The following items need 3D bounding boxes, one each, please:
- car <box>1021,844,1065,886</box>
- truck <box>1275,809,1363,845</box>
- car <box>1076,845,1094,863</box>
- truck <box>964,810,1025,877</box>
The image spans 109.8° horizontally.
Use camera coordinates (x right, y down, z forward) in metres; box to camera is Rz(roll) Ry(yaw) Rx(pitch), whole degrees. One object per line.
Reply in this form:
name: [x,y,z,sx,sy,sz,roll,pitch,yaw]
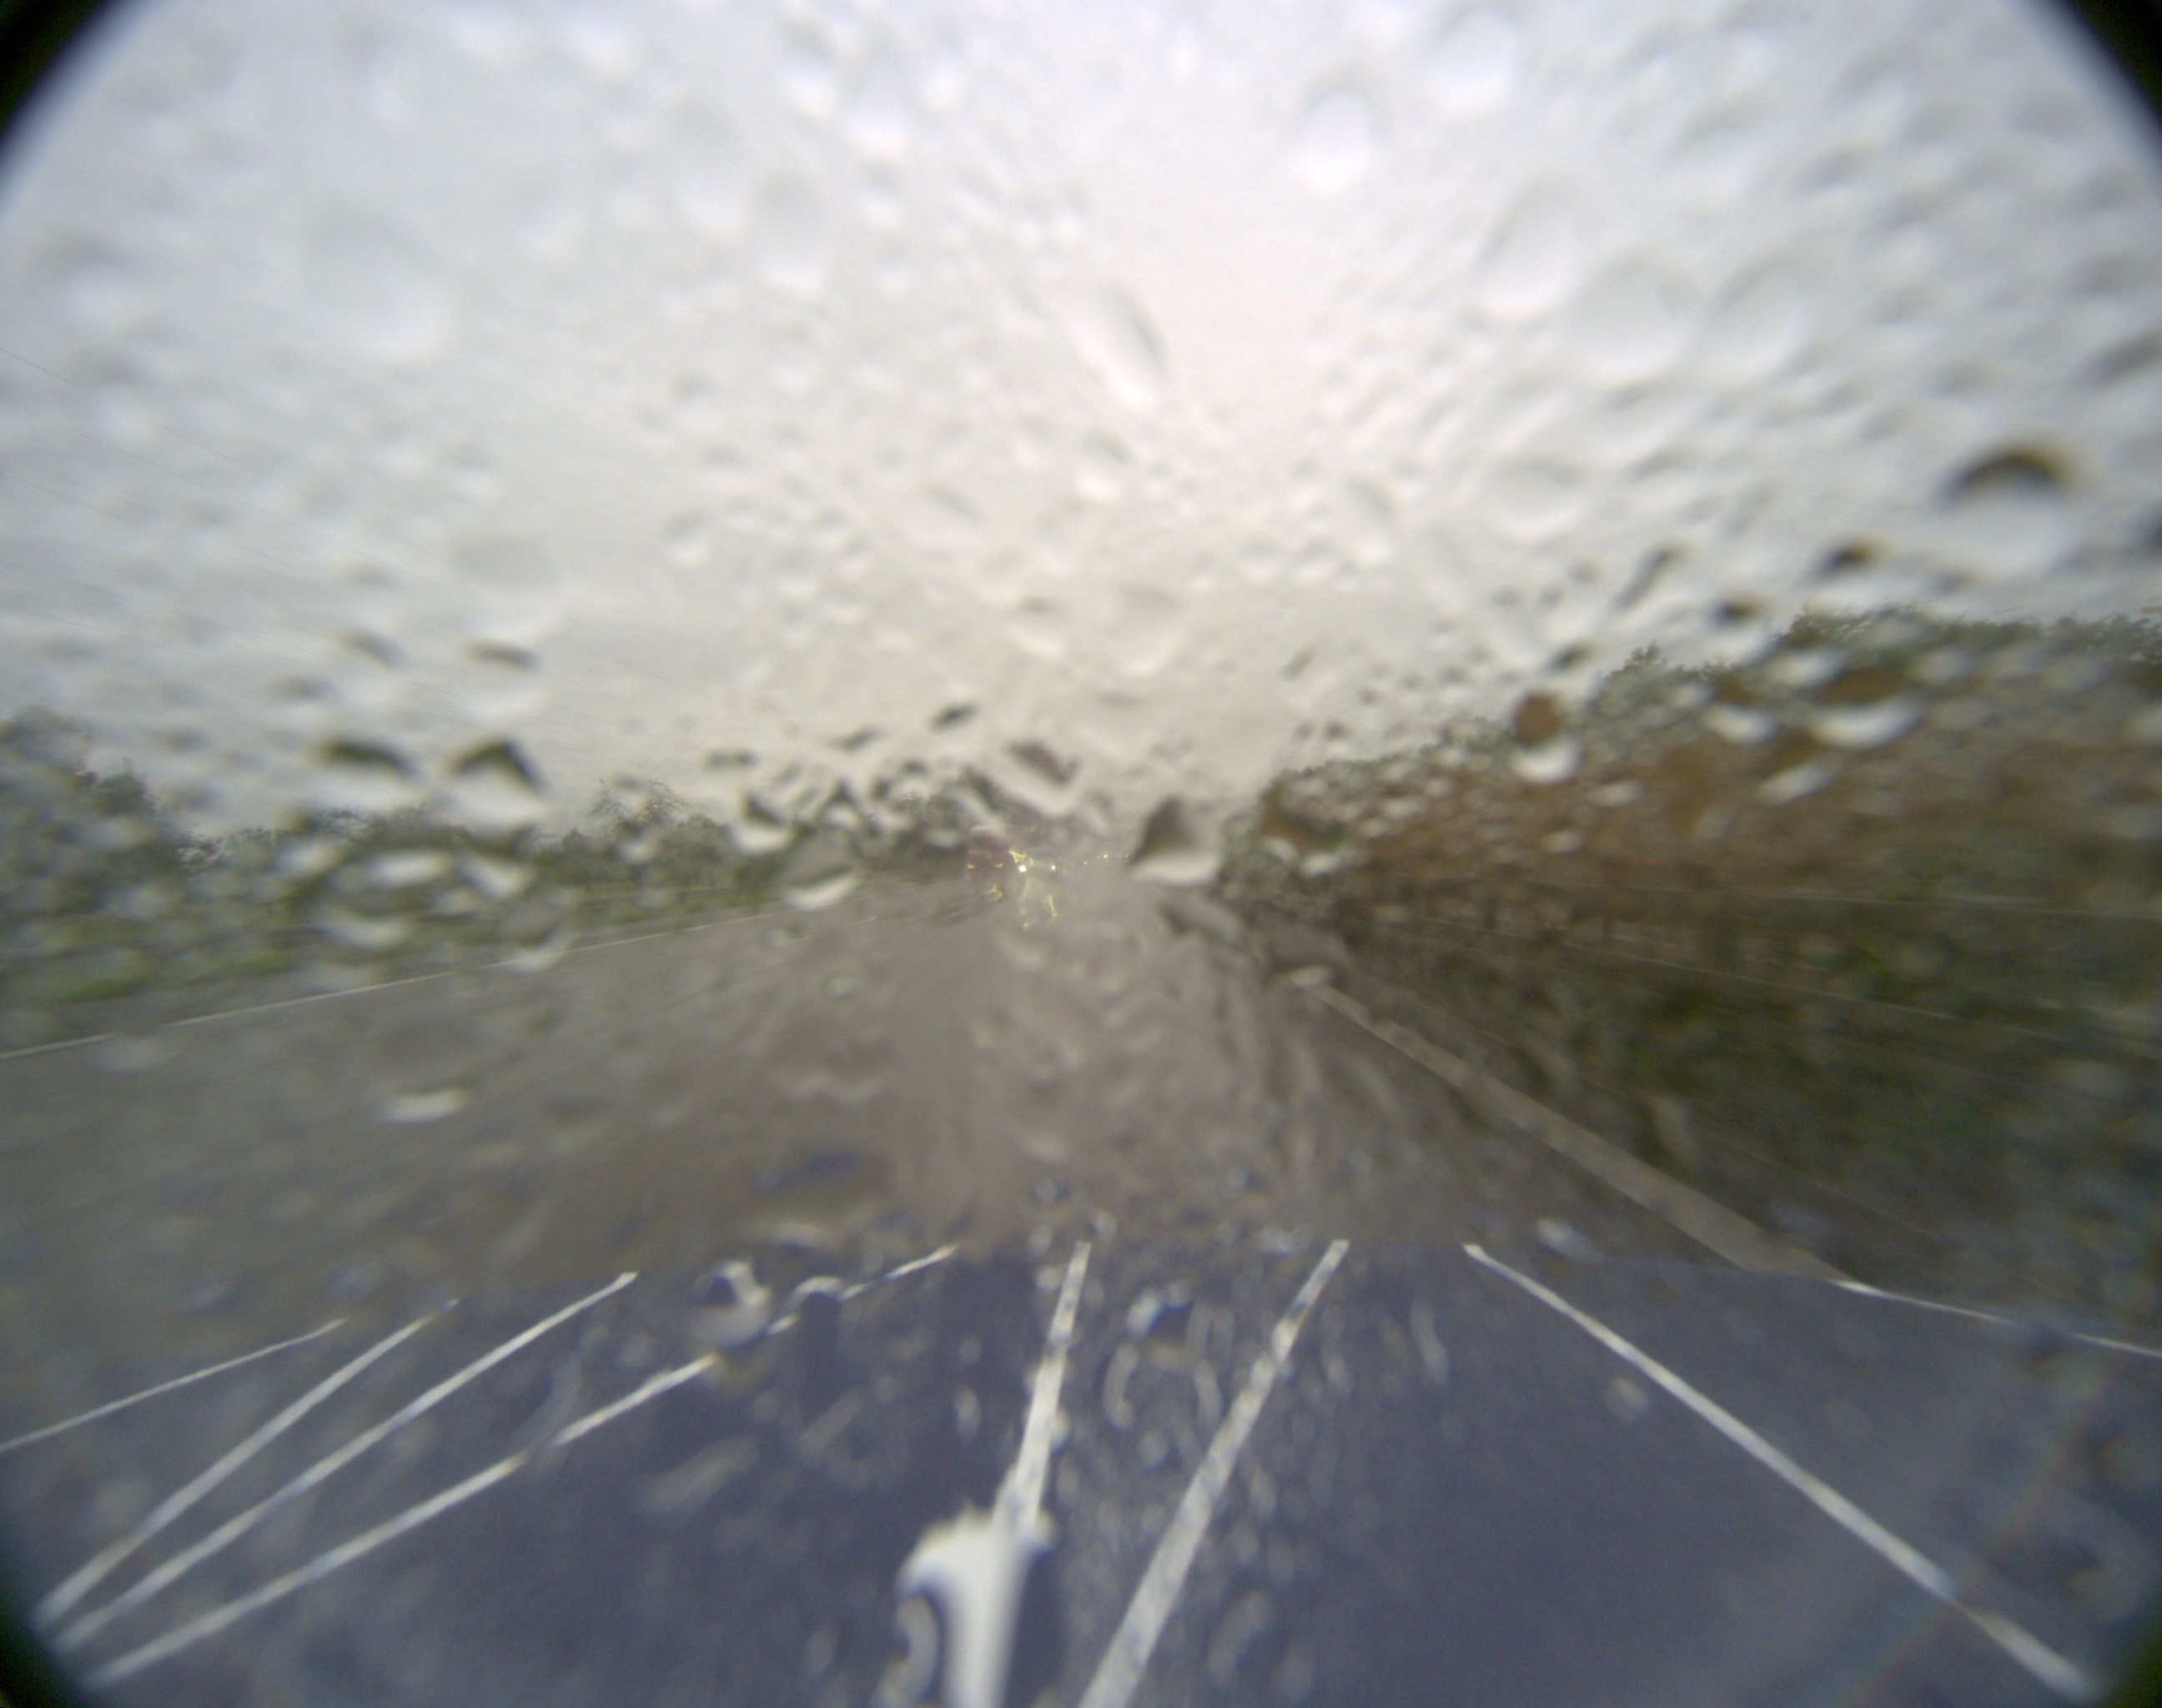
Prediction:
car: [-1.941,0.534,39.971,1.998,2.002,3.999,-3,1,0]
truck: [20.043,-2.176,65.501,3.170,2.305,16.084,-3,0,3]
car: [0.486,0.003,88.166,1.998,2.002,4.000,-2,1,1]
truck: [-6.551,-0.809,59.529,3.136,4.642,11.402,-2,1,1]
